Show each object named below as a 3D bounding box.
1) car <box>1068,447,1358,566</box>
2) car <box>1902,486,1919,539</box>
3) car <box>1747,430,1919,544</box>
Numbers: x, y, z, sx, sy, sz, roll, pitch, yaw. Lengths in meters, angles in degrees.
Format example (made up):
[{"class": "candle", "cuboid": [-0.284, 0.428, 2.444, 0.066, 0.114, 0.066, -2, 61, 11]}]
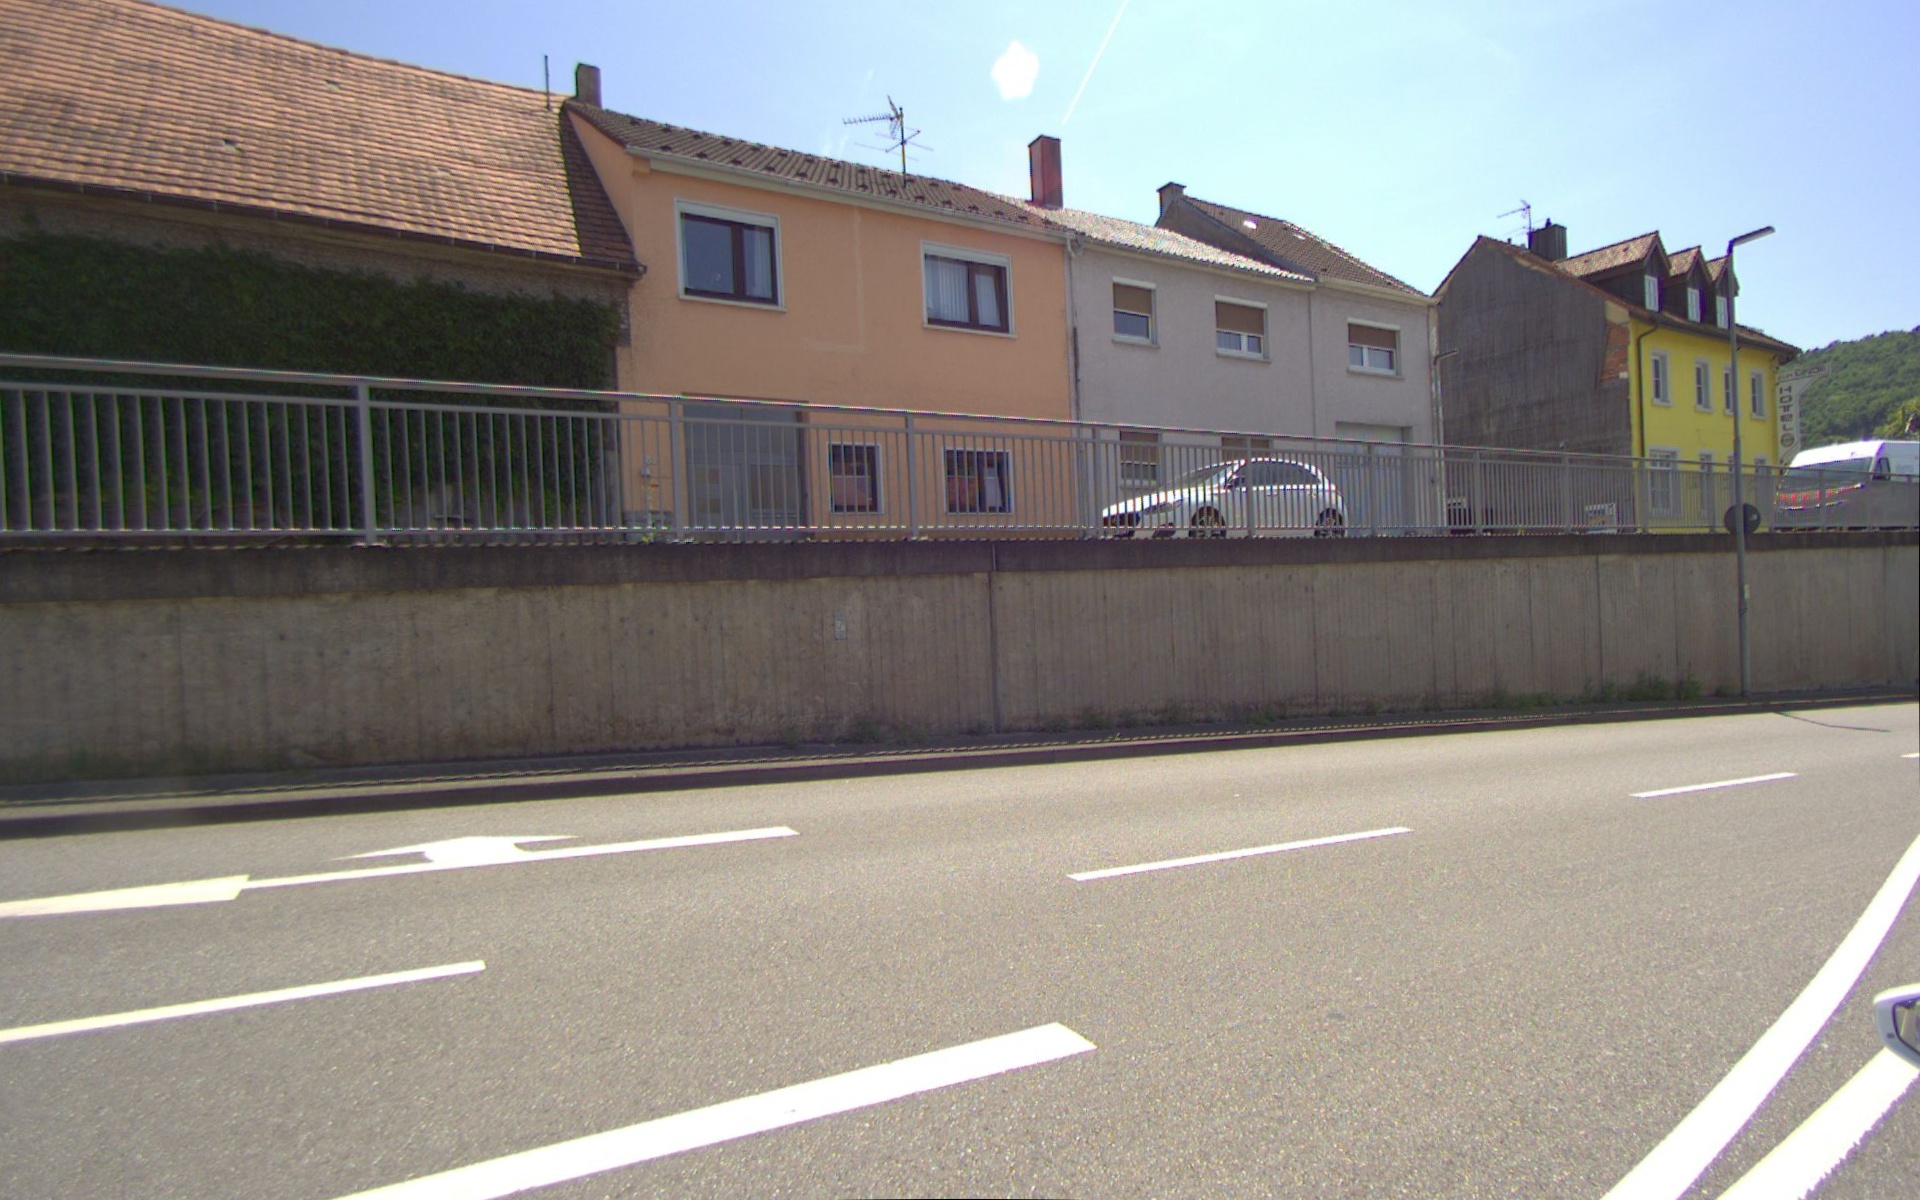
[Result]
[{"class": "car", "cuboid": [3.821, -1.319, 14.906, 4.264, 1.482, 1.802, -3, 2, -34]}, {"class": "car", "cuboid": [30.357, -2.673, 30.436, 3.996, 1.521, 1.611, -2, 2, -31]}, {"class": "car", "cuboid": [22.893, -2.809, 25.874, 5.589, 2.571, 2.057, -2, 2, -28]}]
